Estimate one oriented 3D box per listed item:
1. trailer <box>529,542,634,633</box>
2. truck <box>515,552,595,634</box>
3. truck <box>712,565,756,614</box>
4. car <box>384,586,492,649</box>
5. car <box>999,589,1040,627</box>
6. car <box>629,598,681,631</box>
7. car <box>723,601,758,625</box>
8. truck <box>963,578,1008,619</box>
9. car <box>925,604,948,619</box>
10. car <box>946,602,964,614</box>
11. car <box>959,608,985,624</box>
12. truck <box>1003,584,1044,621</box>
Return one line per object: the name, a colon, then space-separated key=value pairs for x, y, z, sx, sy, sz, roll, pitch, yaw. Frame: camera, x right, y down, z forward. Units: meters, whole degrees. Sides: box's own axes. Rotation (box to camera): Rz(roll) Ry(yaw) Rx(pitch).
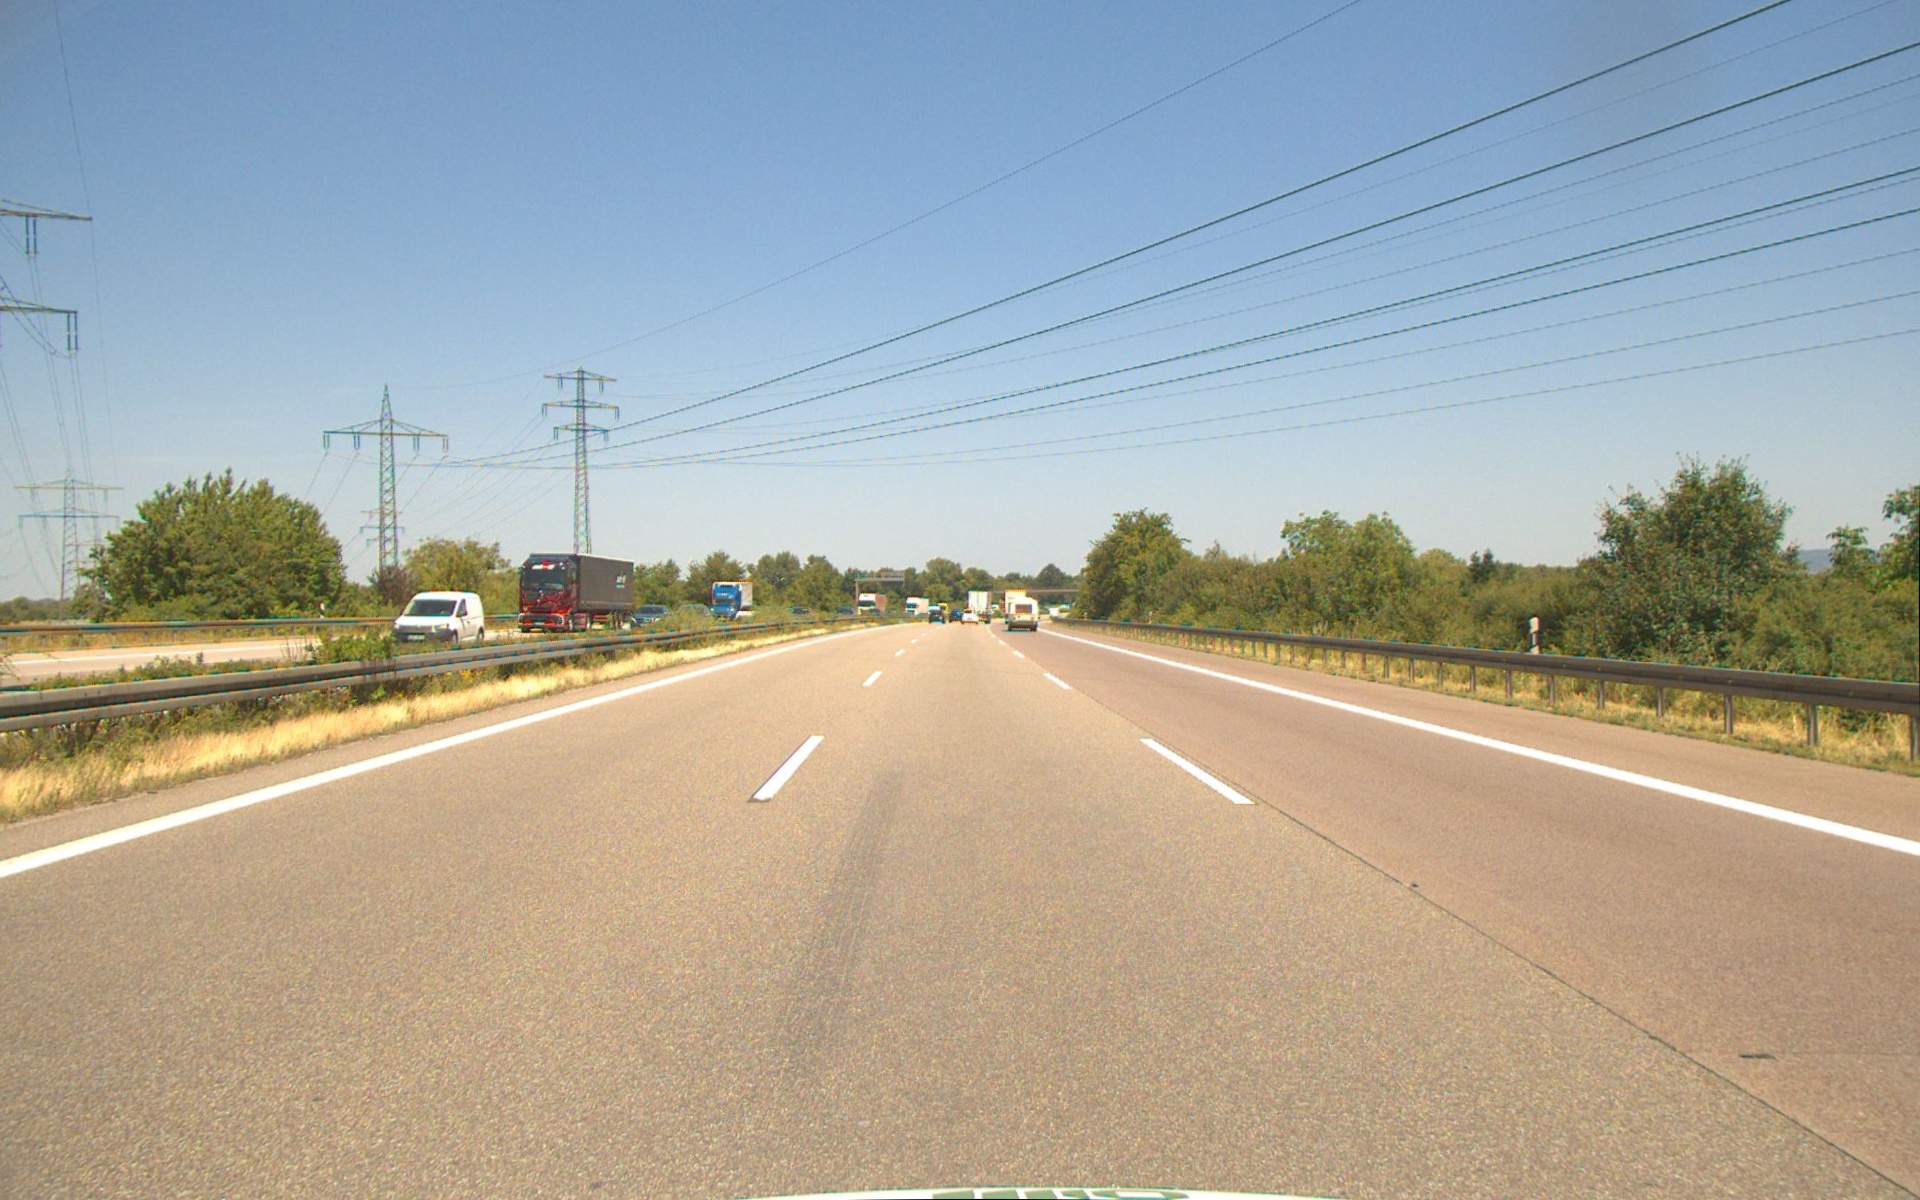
trailer: x=-20.741 y=-0.725 z=91.564 sx=2.594 sy=4.631 sz=13.864 roll=1 pitch=1 yaw=0
truck: x=-20.714 y=-0.371 z=84.853 sx=2.594 sy=4.052 sz=5.991 roll=1 pitch=0 yaw=0
truck: x=-19.496 y=-0.901 z=143.053 sx=2.403 sy=4.045 sz=9.670 roll=-2 pitch=1 yaw=0
car: x=-15.923 y=0.496 z=50.684 sx=1.931 sy=1.804 sz=4.368 roll=1 pitch=1 yaw=-1
car: x=3.885 y=0.508 z=109.412 sx=2.393 sy=2.362 sz=5.320 roll=-1 pitch=1 yaw=-1
car: x=-16.609 y=0.774 z=90.292 sx=1.904 sy=1.646 sz=5.017 roll=1 pitch=1 yaw=0
car: x=-16.565 y=0.950 z=124.881 sx=1.953 sy=1.646 sz=5.017 roll=1 pitch=1 yaw=0
truck: x=3.444 y=-0.239 z=213.686 sx=3.588 sy=5.106 sz=16.031 roll=1 pitch=1 yaw=9
car: x=-2.568 y=1.301 z=180.929 sx=1.789 sy=1.574 sz=4.322 roll=1 pitch=0 yaw=9
car: x=-0.649 y=1.100 z=224.643 sx=1.789 sy=1.574 sz=4.322 roll=1 pitch=0 yaw=9
car: x=1.243 y=1.657 z=168.493 sx=1.789 sy=1.574 sz=4.322 roll=1 pitch=0 yaw=13
truck: x=7.978 y=0.282 z=206.500 sx=3.113 sy=4.379 sz=16.031 roll=1 pitch=1 yaw=9
